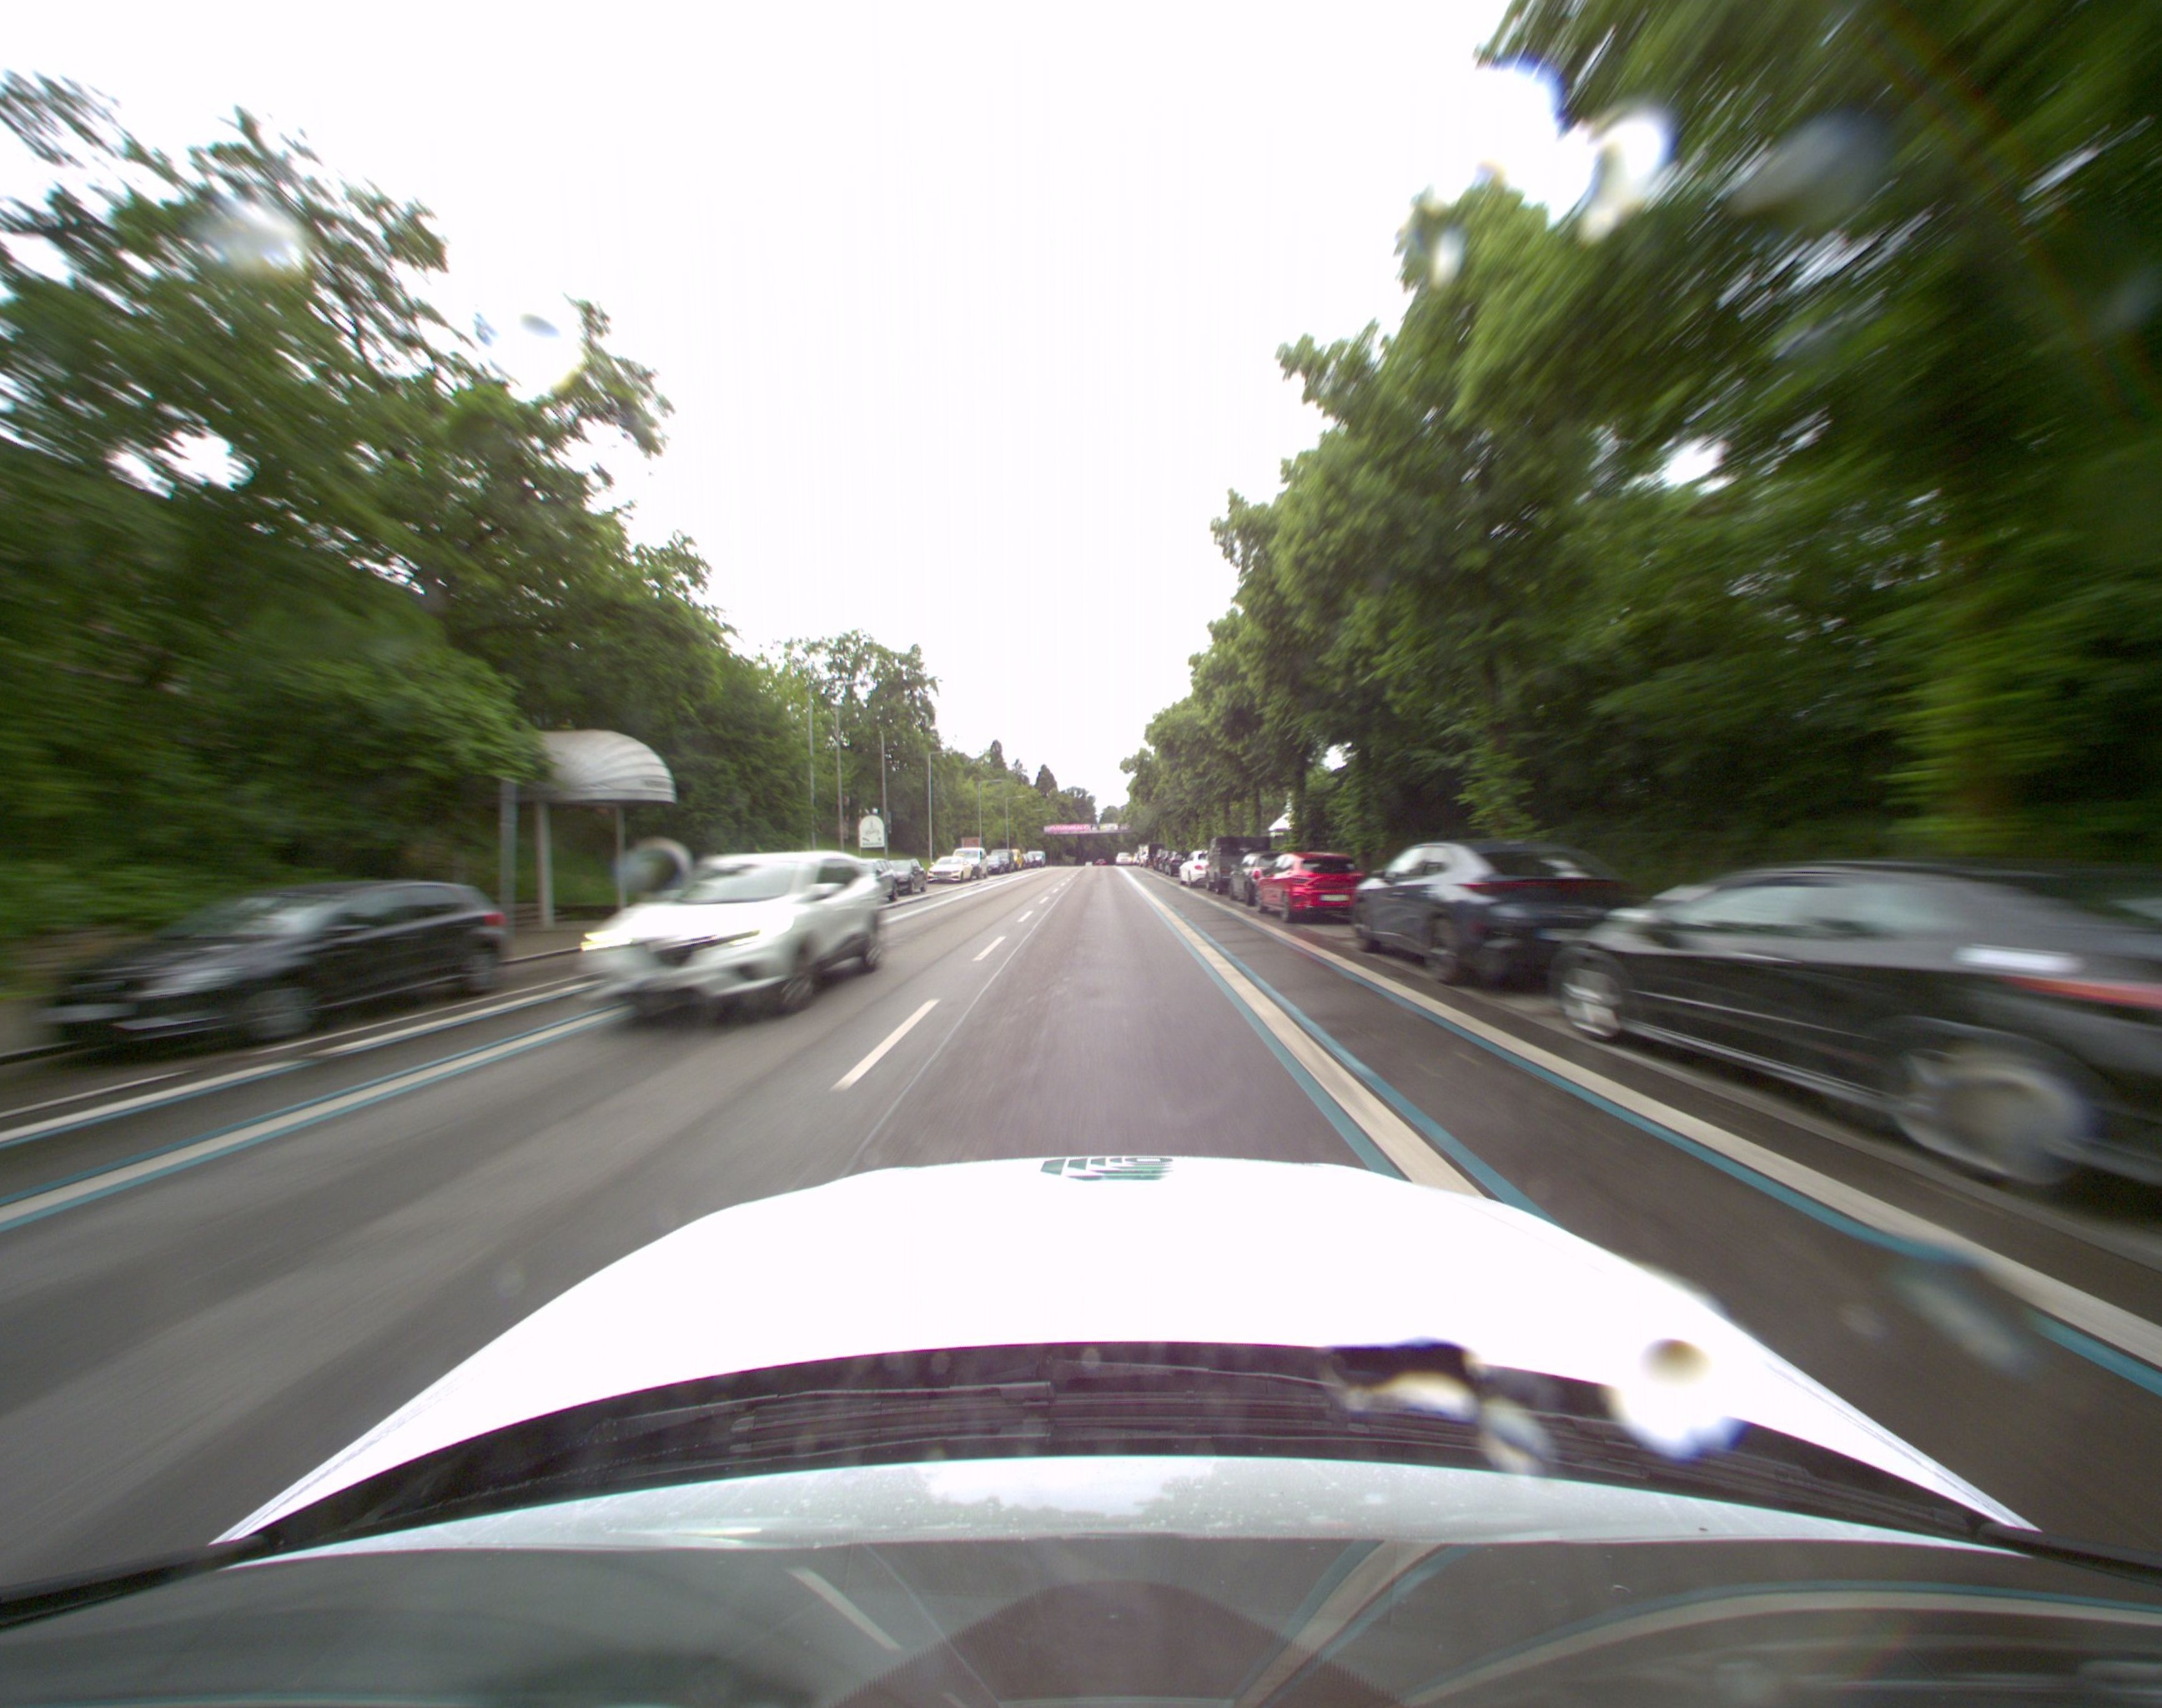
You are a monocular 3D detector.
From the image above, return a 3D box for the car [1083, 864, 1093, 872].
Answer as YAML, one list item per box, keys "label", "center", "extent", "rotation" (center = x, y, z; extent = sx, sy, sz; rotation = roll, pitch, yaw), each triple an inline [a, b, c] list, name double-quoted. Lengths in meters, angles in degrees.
- label: "car"
  center: [1.482, 2.830, 165.279]
  extent: [1.864, 1.473, 4.051]
  rotation: [-1, -2, -1]

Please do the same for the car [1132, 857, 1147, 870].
- label: "car"
  center: [7.242, 1.168, 100.551]
  extent: [1.724, 1.462, 4.047]
  rotation: [-2, 0, 3]

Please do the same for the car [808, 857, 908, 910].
- label: "car"
  center: [-7.243, 0.907, 26.941]
  extent: [2.071, 1.482, 4.670]
  rotation: [-2, 0, -1]

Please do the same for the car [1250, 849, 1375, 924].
- label: "car"
  center: [4.929, 0.613, 17.914]
  extent: [1.679, 1.453, 4.167]
  rotation: [0, 0, 2]

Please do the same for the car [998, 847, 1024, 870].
- label: "car"
  center: [-6.351, 0.393, 74.068]
  extent: [1.877, 1.945, 4.826]
  rotation: [-1, 1, 0]

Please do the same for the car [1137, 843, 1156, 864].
- label: "car"
  center: [7.050, -0.061, 88.525]
  extent: [1.881, 2.127, 4.047]
  rotation: [-1, 0, 3]

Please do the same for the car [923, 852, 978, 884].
- label: "car"
  center: [-7.222, 0.718, 45.611]
  extent: [1.982, 1.605, 4.988]
  rotation: [-2, 0, 3]

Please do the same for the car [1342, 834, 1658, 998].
- label: "car"
  center: [4.790, 0.589, 10.168]
  extent: [1.749, 1.589, 4.500]
  rotation: [0, 0, 2]

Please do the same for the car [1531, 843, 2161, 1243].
- label: "car"
  center: [4.735, 0.679, 4.924]
  extent: [1.681, 1.456, 4.144]
  rotation: [0, 0, -1]

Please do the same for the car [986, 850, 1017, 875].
- label: "car"
  center: [-6.581, 0.646, 67.810]
  extent: [1.983, 1.946, 5.143]
  rotation: [-1, 1, 1]

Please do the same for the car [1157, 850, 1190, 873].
- label: "car"
  center: [6.094, 0.465, 54.095]
  extent: [1.725, 1.463, 4.072]
  rotation: [0, 0, 0]

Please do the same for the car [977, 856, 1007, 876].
- label: "car"
  center: [-6.779, 0.900, 62.348]
  extent: [1.725, 1.390, 4.370]
  rotation: [-1, 1, 1]

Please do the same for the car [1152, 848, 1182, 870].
- label: "car"
  center: [6.264, 0.351, 59.572]
  extent: [1.725, 1.583, 4.153]
  rotation: [0, 0, 0]

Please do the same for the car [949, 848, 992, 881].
- label: "car"
  center: [-6.983, 0.623, 51.887]
  extent: [1.906, 1.931, 4.928]
  rotation: [-1, 1, 1]

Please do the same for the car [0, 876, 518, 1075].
- label: "car"
  center: [-8.228, 1.048, 8.628]
  extent: [1.665, 1.457, 3.993]
  rotation: [-1, 0, 1]

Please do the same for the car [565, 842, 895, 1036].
- label: "car"
  center: [-3.597, 0.744, 9.309]
  extent: [1.788, 1.651, 4.131]
  rotation: [-3, 0, 2]

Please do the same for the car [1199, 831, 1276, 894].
- label: "car"
  center: [5.405, 0.268, 28.621]
  extent: [1.919, 2.022, 4.665]
  rotation: [-1, 0, 2]

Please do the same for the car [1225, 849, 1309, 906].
- label: "car"
  center: [5.122, 0.603, 22.802]
  extent: [1.600, 1.453, 3.748]
  rotation: [0, 0, 2]

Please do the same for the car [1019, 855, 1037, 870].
- label: "car"
  center: [-5.877, 0.894, 90.570]
  extent: [1.865, 1.542, 4.052]
  rotation: [-1, 1, -1]

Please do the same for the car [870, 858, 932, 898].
- label: "car"
  center: [-7.331, 0.929, 33.546]
  extent: [1.691, 1.437, 4.052]
  rotation: [-1, 1, -1]

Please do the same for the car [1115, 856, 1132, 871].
- label: "car"
  center: [4.606, 0.995, 89.034]
  extent: [1.725, 1.583, 4.037]
  rotation: [-2, 0, 1]

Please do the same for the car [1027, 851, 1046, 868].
- label: "car"
  center: [-5.342, 0.641, 98.006]
  extent: [1.750, 1.931, 4.198]
  rotation: [-1, 1, 4]

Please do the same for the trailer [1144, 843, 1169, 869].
- label: "trailer"
  center: [6.638, 0.151, 71.772]
  extent: [1.876, 2.166, 3.810]
  rotation: [-2, 0, 2]

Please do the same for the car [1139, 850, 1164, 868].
- label: "car"
  center: [6.503, 0.483, 75.889]
  extent: [1.727, 1.583, 4.149]
  rotation: [-2, 0, -3]

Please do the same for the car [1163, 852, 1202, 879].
- label: "car"
  center: [5.908, 0.640, 47.647]
  extent: [1.725, 1.463, 4.276]
  rotation: [0, 0, 0]

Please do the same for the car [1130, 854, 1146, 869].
- label: "car"
  center: [6.587, 0.836, 93.990]
  extent: [1.724, 1.684, 4.047]
  rotation: [-2, 0, 3]

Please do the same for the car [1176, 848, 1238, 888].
- label: "car"
  center: [5.116, 0.528, 33.587]
  extent: [1.783, 1.543, 4.888]
  rotation: [0, 0, 0]

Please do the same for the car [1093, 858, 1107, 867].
- label: "car"
  center: [3.328, 1.430, 143.089]
  extent: [2.135, 1.492, 4.495]
  rotation: [-1, 0, -2]
